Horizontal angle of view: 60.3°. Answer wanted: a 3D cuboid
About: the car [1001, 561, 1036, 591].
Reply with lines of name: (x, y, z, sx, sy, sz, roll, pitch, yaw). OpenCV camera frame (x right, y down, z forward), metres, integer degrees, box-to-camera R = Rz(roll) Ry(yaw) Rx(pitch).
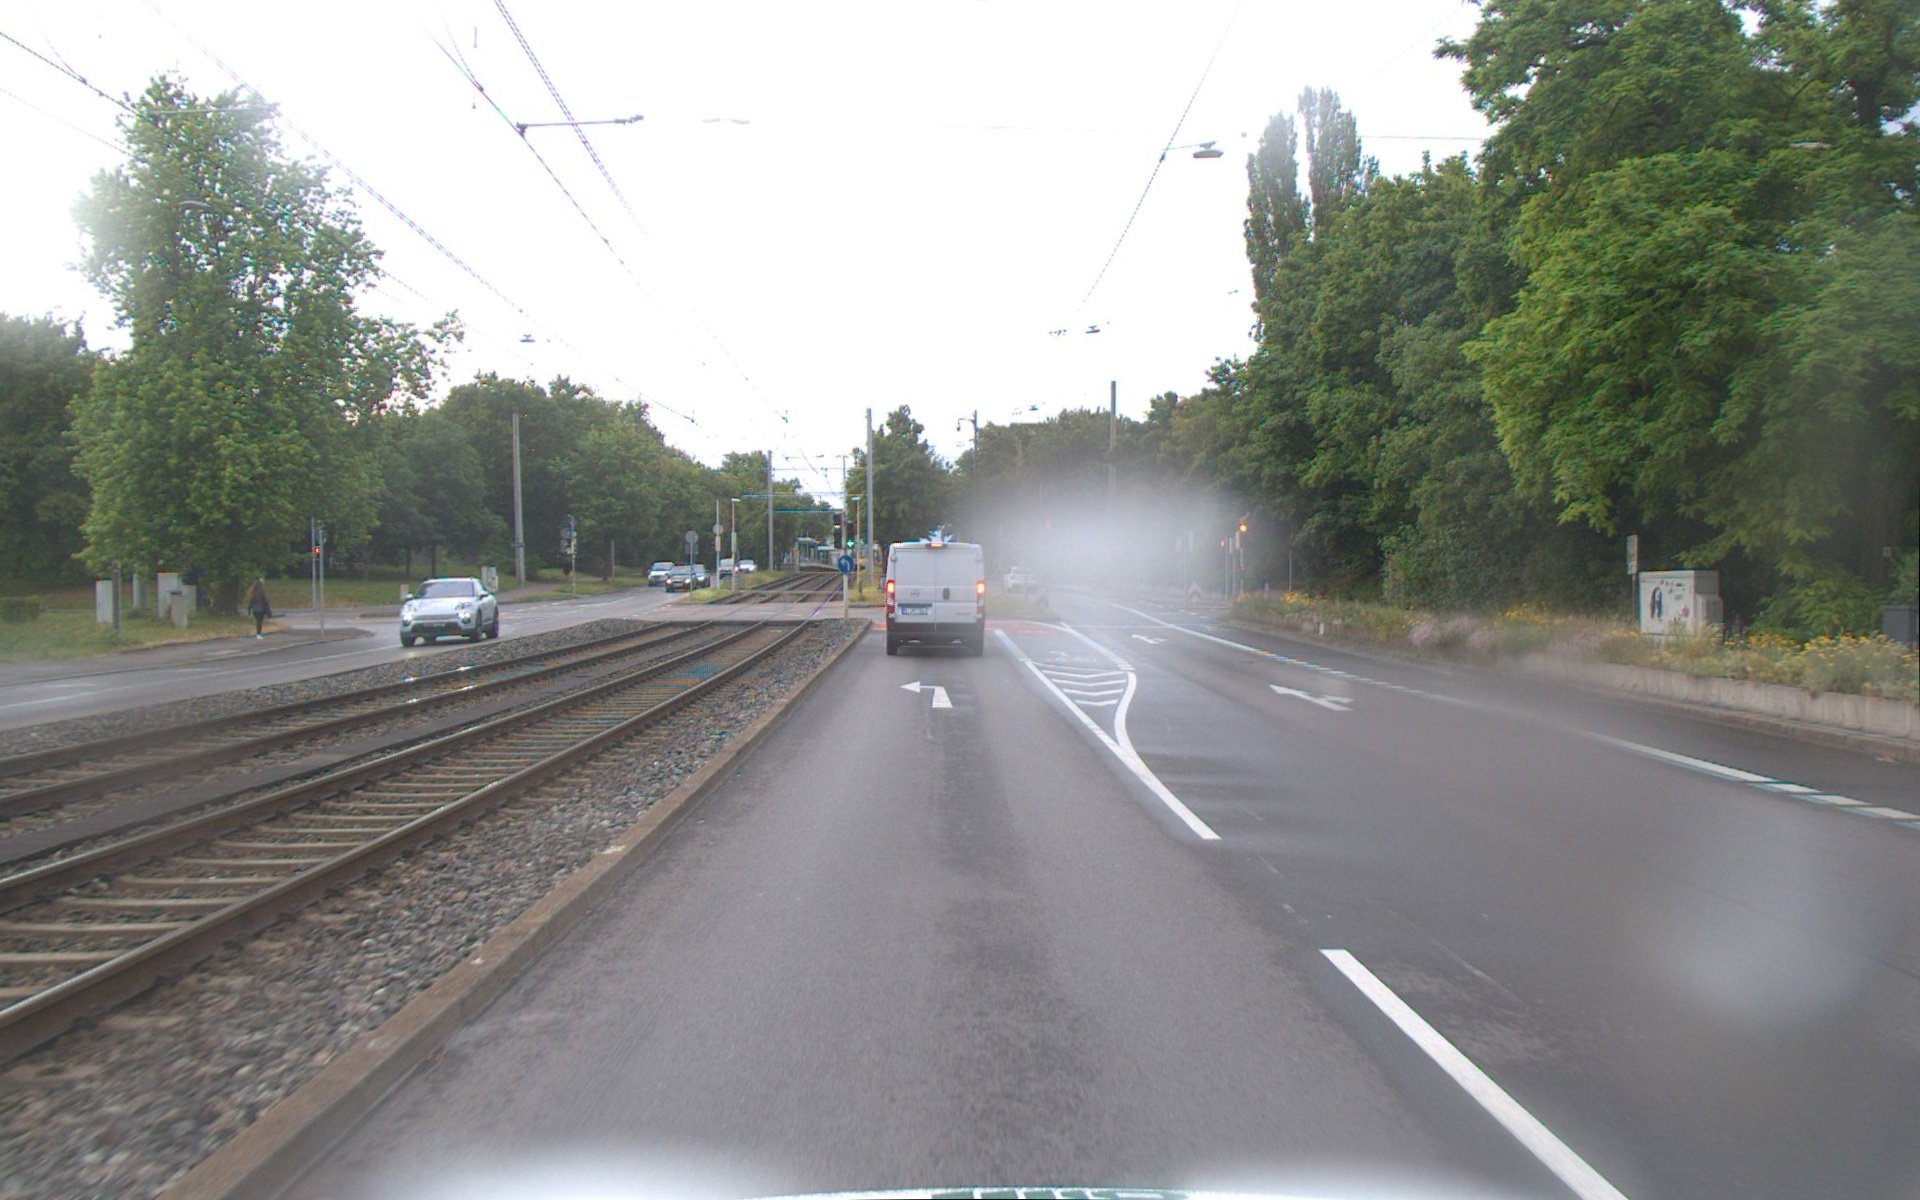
car: (3.298, -1.362, 93.313, 1.669, 1.548, 3.791, 1, 2, -2)

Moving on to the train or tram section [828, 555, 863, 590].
train or tram section: (-14.998, -3.554, 217.764, 3.978, 3.963, 15.032, 1, -1, -2)

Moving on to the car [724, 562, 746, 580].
car: (-18.999, -2.491, 139.905, 1.569, 1.426, 3.790, 1, 2, -4)

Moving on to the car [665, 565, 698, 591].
car: (-16.678, -1.321, 99.091, 1.569, 1.426, 3.790, 1, 2, -4)

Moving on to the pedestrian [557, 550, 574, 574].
pedestrian: (-26.834, -2.613, 112.546, 0.994, 1.628, 1.038, 0, 1, -9)

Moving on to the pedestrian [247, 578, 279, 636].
pedestrian: (-19.134, 0.190, 45.433, 0.579, 1.559, 0.668, 1, -1, -3)

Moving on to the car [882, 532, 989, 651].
car: (-0.535, -0.192, 35.290, 2.103, 2.323, 5.062, 0, 0, -1)

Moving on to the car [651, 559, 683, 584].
car: (-20.722, -2.051, 117.056, 1.685, 1.580, 3.861, -3, 2, -4)

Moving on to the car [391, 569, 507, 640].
car: (-13.280, 0.077, 43.268, 1.955, 1.678, 4.754, -2, 1, -6)

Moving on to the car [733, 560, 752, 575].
car: (-21.449, -3.240, 163.456, 1.569, 1.426, 3.790, 1, 2, -4)
